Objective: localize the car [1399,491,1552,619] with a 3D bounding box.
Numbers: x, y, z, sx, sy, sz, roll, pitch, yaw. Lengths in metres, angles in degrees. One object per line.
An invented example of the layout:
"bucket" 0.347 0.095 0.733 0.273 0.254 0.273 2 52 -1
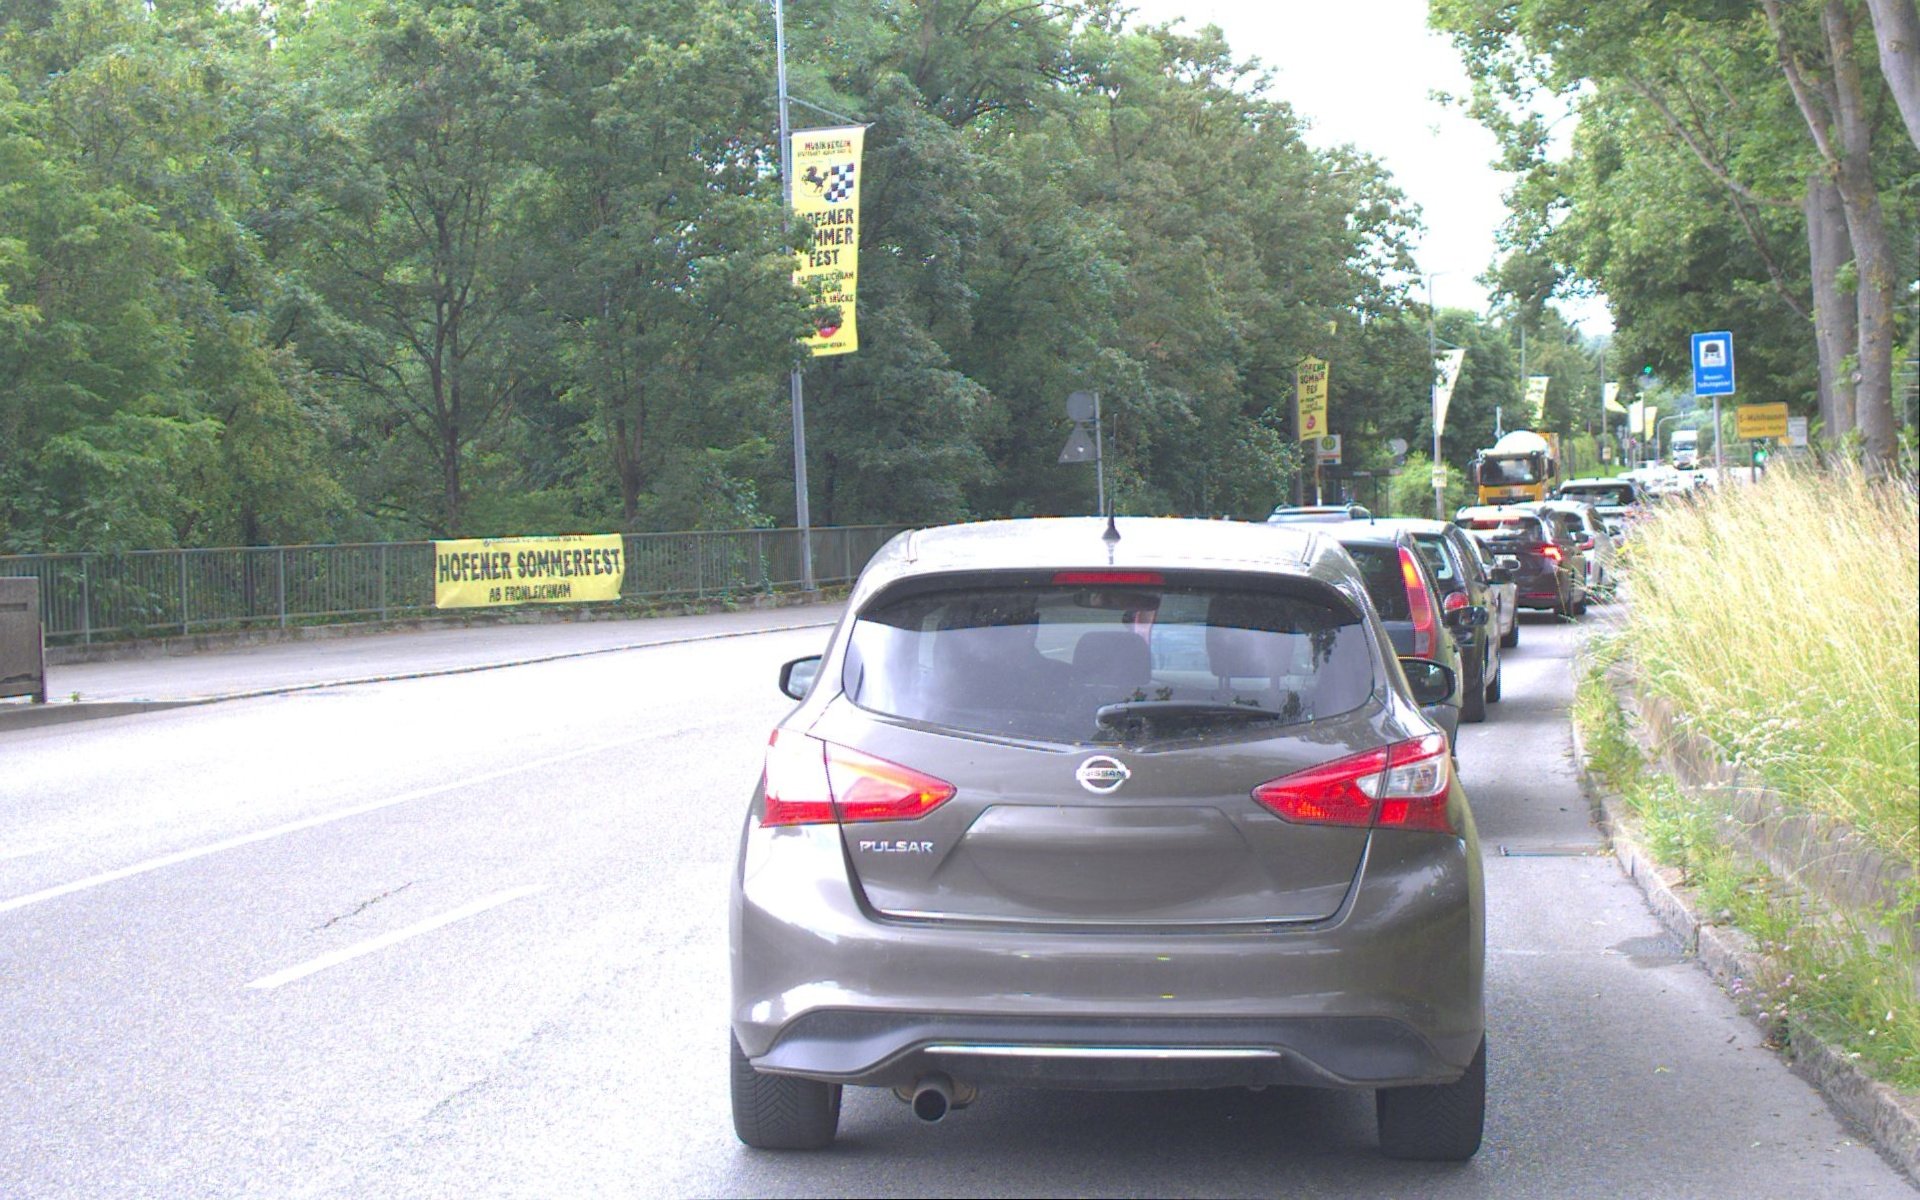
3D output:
"car" 6.571 -0.574 43.559 1.805 1.535 3.998 1 1 10

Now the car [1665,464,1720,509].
"car" 28.075 -4.344 131.754 1.892 1.647 3.998 -1 1 14

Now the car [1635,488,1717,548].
"car" 18.271 -2.094 87.612 1.892 1.440 3.805 -1 1 14

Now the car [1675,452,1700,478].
"car" 53.527 -9.953 252.976 1.719 1.687 3.723 -2 -1 13

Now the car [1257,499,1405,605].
"car" 5.575 -0.698 51.201 1.852 1.481 4.419 -1 0 10

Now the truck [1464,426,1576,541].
"truck" 20.207 -4.152 123.607 2.657 3.925 10.103 0 1 17

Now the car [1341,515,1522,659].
"car" 4.907 -0.158 35.462 1.501 1.359 3.585 -2 1 13

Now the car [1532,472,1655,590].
"car" 11.342 -1.245 61.344 1.892 2.007 3.998 -1 1 14

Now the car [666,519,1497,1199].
"car" 0.489 0.562 9.341 1.775 1.489 3.999 0 0 7

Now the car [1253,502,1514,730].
"car" 3.233 0.085 25.697 1.578 1.533 3.998 -2 1 12

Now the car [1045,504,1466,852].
"car" 1.561 0.344 17.592 1.893 1.568 3.999 0 0 6

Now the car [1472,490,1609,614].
"car" 8.561 -0.669 50.506 1.719 1.687 3.997 -2 -1 13

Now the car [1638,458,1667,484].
"car" 44.539 -8.276 221.133 1.753 1.415 3.998 -2 -1 12
